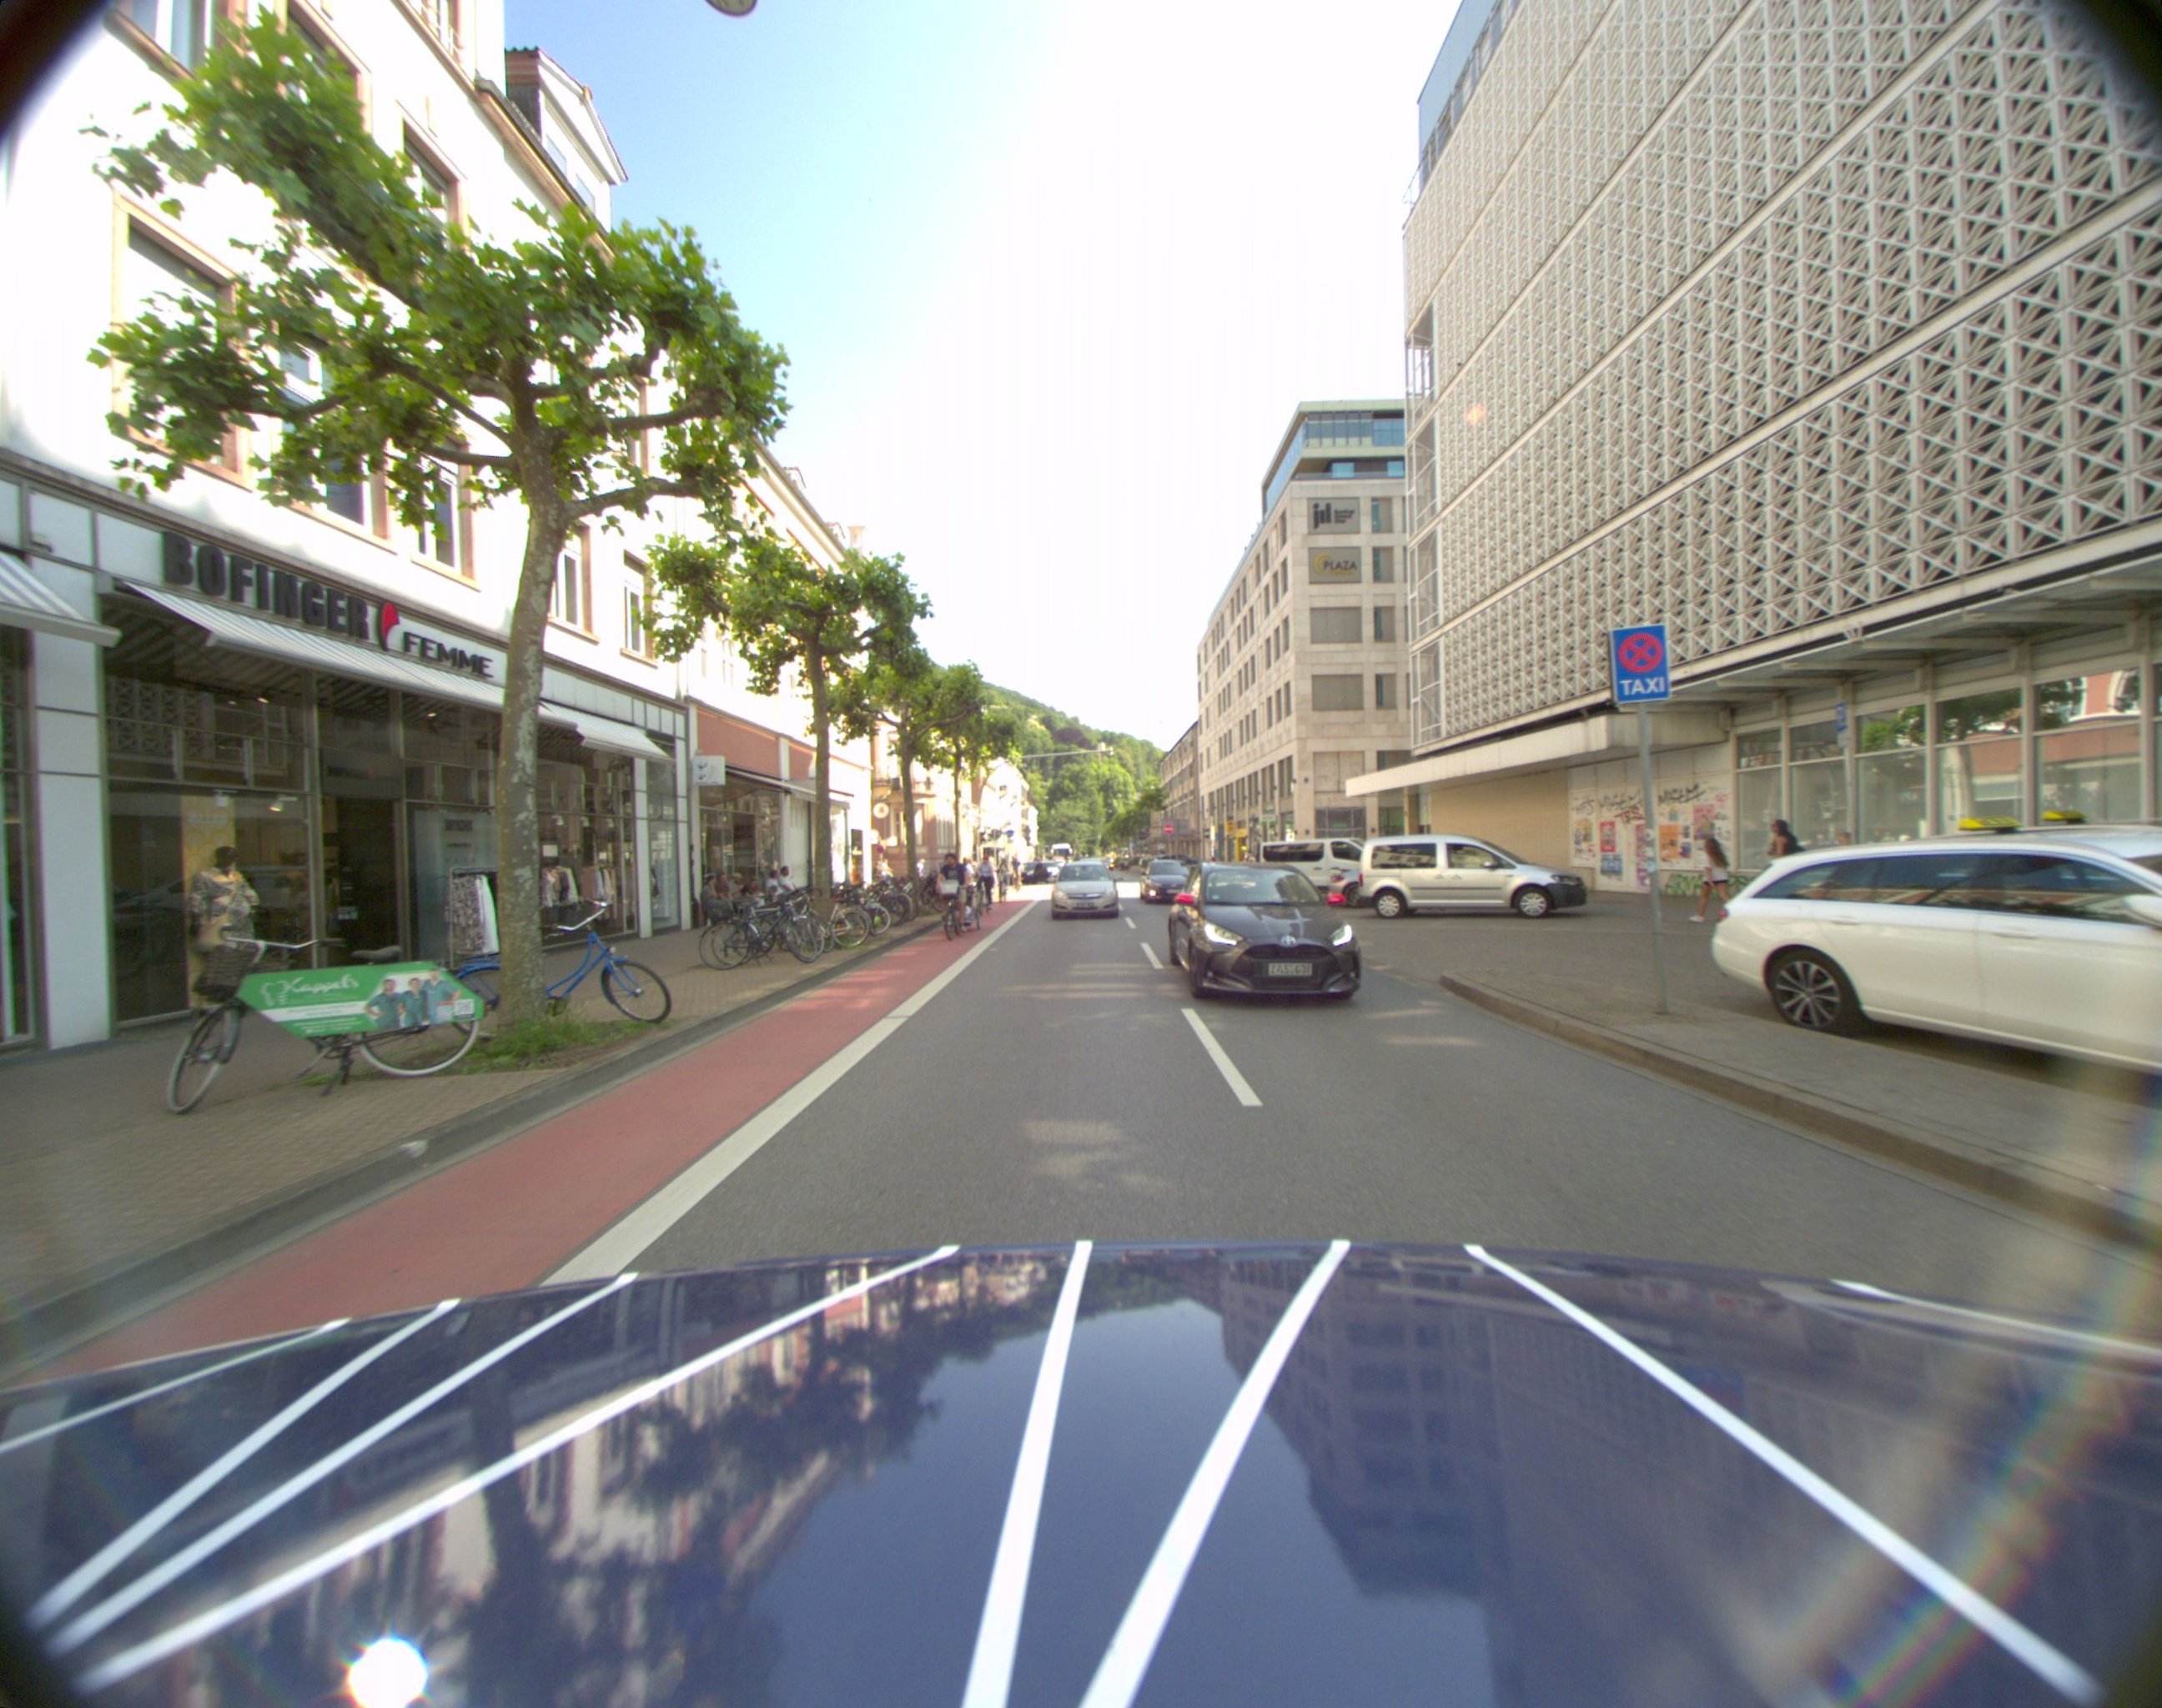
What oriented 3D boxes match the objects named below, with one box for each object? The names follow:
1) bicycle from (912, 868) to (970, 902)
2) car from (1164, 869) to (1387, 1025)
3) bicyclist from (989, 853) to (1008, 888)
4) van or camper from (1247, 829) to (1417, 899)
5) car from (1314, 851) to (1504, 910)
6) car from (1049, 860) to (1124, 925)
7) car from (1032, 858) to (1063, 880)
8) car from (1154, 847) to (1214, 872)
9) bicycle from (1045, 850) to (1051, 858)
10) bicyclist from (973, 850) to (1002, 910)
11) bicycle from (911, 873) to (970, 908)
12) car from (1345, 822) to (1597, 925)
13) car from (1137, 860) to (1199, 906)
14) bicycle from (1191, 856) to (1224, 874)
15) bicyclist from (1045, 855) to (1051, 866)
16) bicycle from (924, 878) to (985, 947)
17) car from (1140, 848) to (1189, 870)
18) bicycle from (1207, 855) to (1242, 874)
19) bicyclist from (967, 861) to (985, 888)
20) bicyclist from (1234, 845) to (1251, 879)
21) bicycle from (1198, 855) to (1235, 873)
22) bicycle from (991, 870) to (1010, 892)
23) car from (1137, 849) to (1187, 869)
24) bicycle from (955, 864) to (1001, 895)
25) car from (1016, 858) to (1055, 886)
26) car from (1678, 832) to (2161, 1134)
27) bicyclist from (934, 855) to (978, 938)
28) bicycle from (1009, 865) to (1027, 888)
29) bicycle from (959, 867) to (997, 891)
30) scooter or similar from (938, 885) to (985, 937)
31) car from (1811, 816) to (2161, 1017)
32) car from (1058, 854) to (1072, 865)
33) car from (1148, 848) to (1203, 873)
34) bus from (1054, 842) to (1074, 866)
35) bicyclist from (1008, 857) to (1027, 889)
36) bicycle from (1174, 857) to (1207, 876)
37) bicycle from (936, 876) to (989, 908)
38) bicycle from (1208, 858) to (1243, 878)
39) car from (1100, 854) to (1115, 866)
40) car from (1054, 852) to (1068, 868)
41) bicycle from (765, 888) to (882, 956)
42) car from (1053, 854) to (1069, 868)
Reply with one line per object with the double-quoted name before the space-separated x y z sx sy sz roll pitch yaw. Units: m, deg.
"bicycle" -4.907 1.075 26.620 1.843 1.120 0.667 -1 2 8
"car" 2.096 0.937 9.399 1.868 1.469 4.108 0 -1 2
"bicyclist" -4.123 0.807 38.103 0.840 1.707 0.844 -1 1 1
"van or camper" 7.953 0.363 24.294 4.648 2.002 2.004 -3 0 40
"car" 8.589 0.709 19.992 4.288 1.279 1.974 -3 0 32
"car" 0.071 0.952 20.678 1.791 1.484 4.367 -1 0 -2
"car" -2.375 1.053 54.828 1.957 1.416 4.885 -3 0 -1
"car" 7.801 0.435 57.592 4.025 1.593 1.961 -3 1 23
"bicycle" -5.049 0.039 115.066 0.743 1.120 2.573 0 1 2
"bicyclist" -2.761 0.759 22.473 0.684 1.707 0.844 -2 1 1
"bicycle" -4.766 1.230 25.799 1.844 1.120 0.666 -1 2 2
"car" 8.197 0.405 16.136 4.434 1.898 2.013 -2 0 37
"car" 2.962 0.949 26.552 1.734 1.389 4.106 -1 1 1
"bicycle" 8.371 0.731 50.342 2.060 1.120 0.563 -3 0 25
"bicyclist" -5.041 0.982 115.772 0.747 1.693 1.036 -1 1 1
"bicycle" -2.570 1.160 15.739 0.734 1.261 2.283 -2 -1 2
"car" 7.840 0.461 71.499 4.029 1.584 1.822 -6 0 33
"bicycle" 9.117 0.673 48.376 2.059 1.120 0.648 -2 0 27
"bicyclist" -5.499 1.054 39.828 0.861 1.403 0.501 -1 1 1
"bicyclist" 9.473 0.438 44.679 0.843 1.948 1.017 -1 1 6
"bicycle" 9.048 0.667 50.881 2.324 1.120 0.563 -3 1 25
"bicycle" -4.063 1.359 38.543 0.664 1.111 1.992 -1 -1 2
"car" 8.008 0.473 75.004 4.492 1.424 1.865 -6 0 20
"bicycle" -4.271 1.051 31.402 1.852 1.181 0.718 -5 -3 39
"car" -2.833 1.095 47.914 1.631 1.470 3.732 -2 2 9
"car" 6.426 0.646 4.656 1.803 1.514 4.739 -3 0 1
"bicyclist" -2.574 0.864 15.707 0.732 1.664 0.774 -1 1 1
"bicycle" -3.445 1.205 41.227 0.749 1.111 1.916 -3 1 -10
"bicycle" -5.415 1.321 39.998 1.844 1.120 0.666 -3 1 5
"scooter or similar" -2.682 1.271 17.195 0.785 1.054 1.126 -3 1 3
"car" 9.705 0.478 6.768 1.999 1.601 4.398 -3 1 -4
"car" -2.321 0.724 107.074 1.868 1.479 4.414 -2 0 -2
"car" 7.591 0.525 61.004 4.165 1.627 2.103 -5 0 9
"bus" -2.585 -0.025 116.517 2.924 3.516 12.497 -1 1 -1
"bicyclist" -3.425 1.029 41.095 0.910 1.707 0.844 -1 1 1
"bicycle" 6.860 0.784 47.721 0.606 1.166 2.059 -4 2 -45
"bicycle" -4.460 1.439 28.678 1.855 0.396 1.014 -9 35 5
"bicycle" 8.705 0.847 45.848 1.990 1.120 0.800 -1 0 7
"car" 3.286 0.766 94.166 1.734 1.389 4.106 -2 0 1
"car" -2.689 0.794 102.060 1.703 1.900 4.607 -6 -1 -2
"bicycle" -4.585 1.205 13.584 1.844 1.087 0.564 -3 1 1
"car" -2.559 0.828 96.349 1.799 1.516 4.262 -5 1 -2
